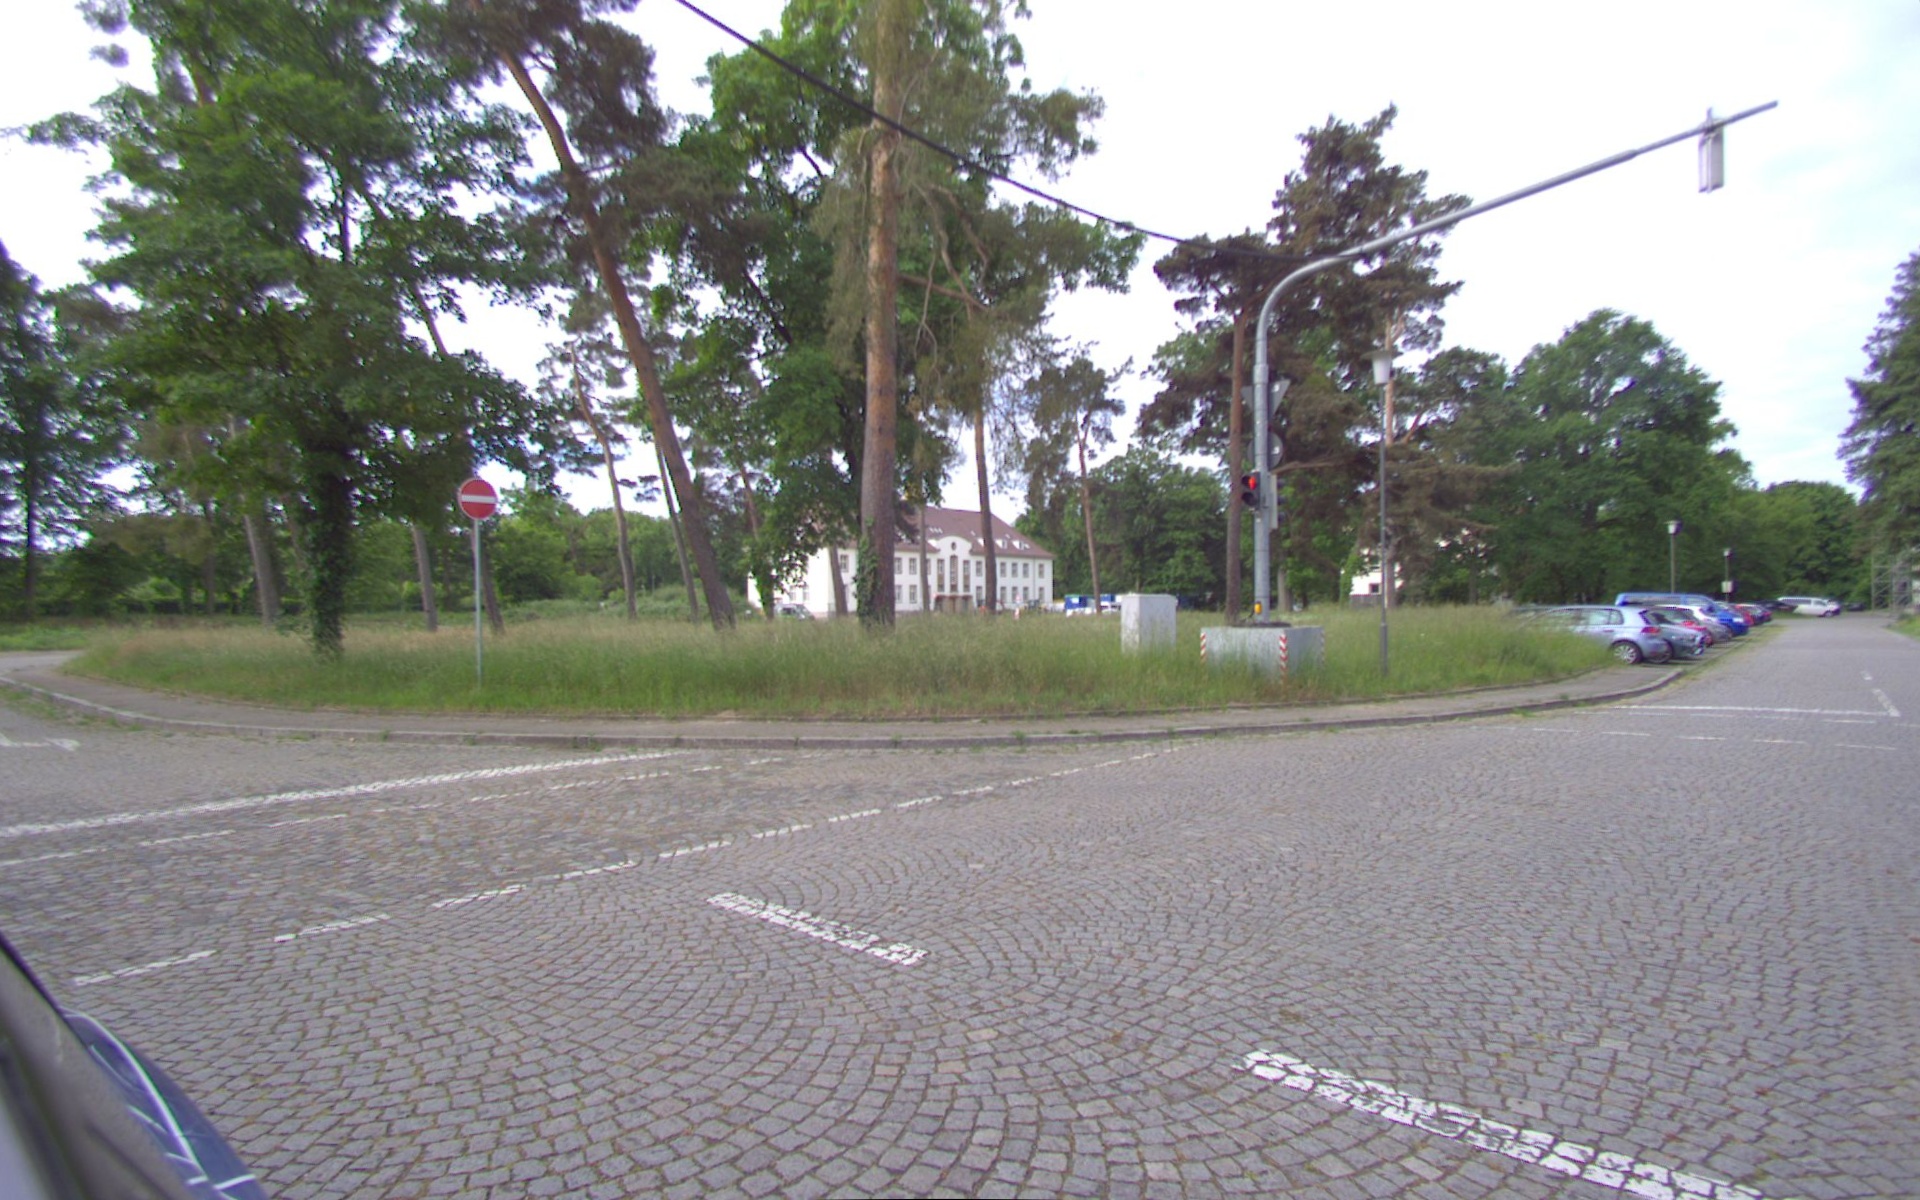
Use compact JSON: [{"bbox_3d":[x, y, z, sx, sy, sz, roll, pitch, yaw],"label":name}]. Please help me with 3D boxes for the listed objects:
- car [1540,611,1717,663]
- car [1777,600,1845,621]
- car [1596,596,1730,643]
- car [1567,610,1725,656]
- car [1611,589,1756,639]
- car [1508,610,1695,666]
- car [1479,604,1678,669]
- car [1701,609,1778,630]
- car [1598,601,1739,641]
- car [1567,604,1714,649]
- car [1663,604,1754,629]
[{"bbox_3d":[18.992,1.009,28.847,3.999,1.364,1.667,-1,-1,42],"label":"car"},{"bbox_3d":[85.578,1.088,101.830,5.160,2.029,1.973,-1,-1,41],"label":"car"},{"bbox_3d":[27.070,0.764,39.051,4.000,1.727,1.667,-2,-2,43],"label":"car"},{"bbox_3d":[21.951,1.035,32.457,3.999,1.364,1.667,-1,-1,42],"label":"car"},{"bbox_3d":[30.581,0.636,42.874,4.791,1.996,1.970,-2,-2,41],"label":"car"},{"bbox_3d":[17.011,0.964,26.943,3.999,1.364,1.667,-1,-1,42],"label":"car"},{"bbox_3d":[15.279,0.861,25.105,3.997,1.483,1.668,-1,-1,40],"label":"car"},{"bbox_3d":[52.515,1.334,68.237,3.999,1.364,1.667,-1,-1,42],"label":"car"},{"bbox_3d":[25.479,0.737,36.482,3.999,1.364,1.667,-1,-1,42],"label":"car"},{"bbox_3d":[23.334,0.880,34.779,3.999,1.449,1.667,-1,-1,42],"label":"car"},{"bbox_3d":[42.566,0.924,57.595,3.999,1.364,1.667,-1,-1,42],"label":"car"}]
